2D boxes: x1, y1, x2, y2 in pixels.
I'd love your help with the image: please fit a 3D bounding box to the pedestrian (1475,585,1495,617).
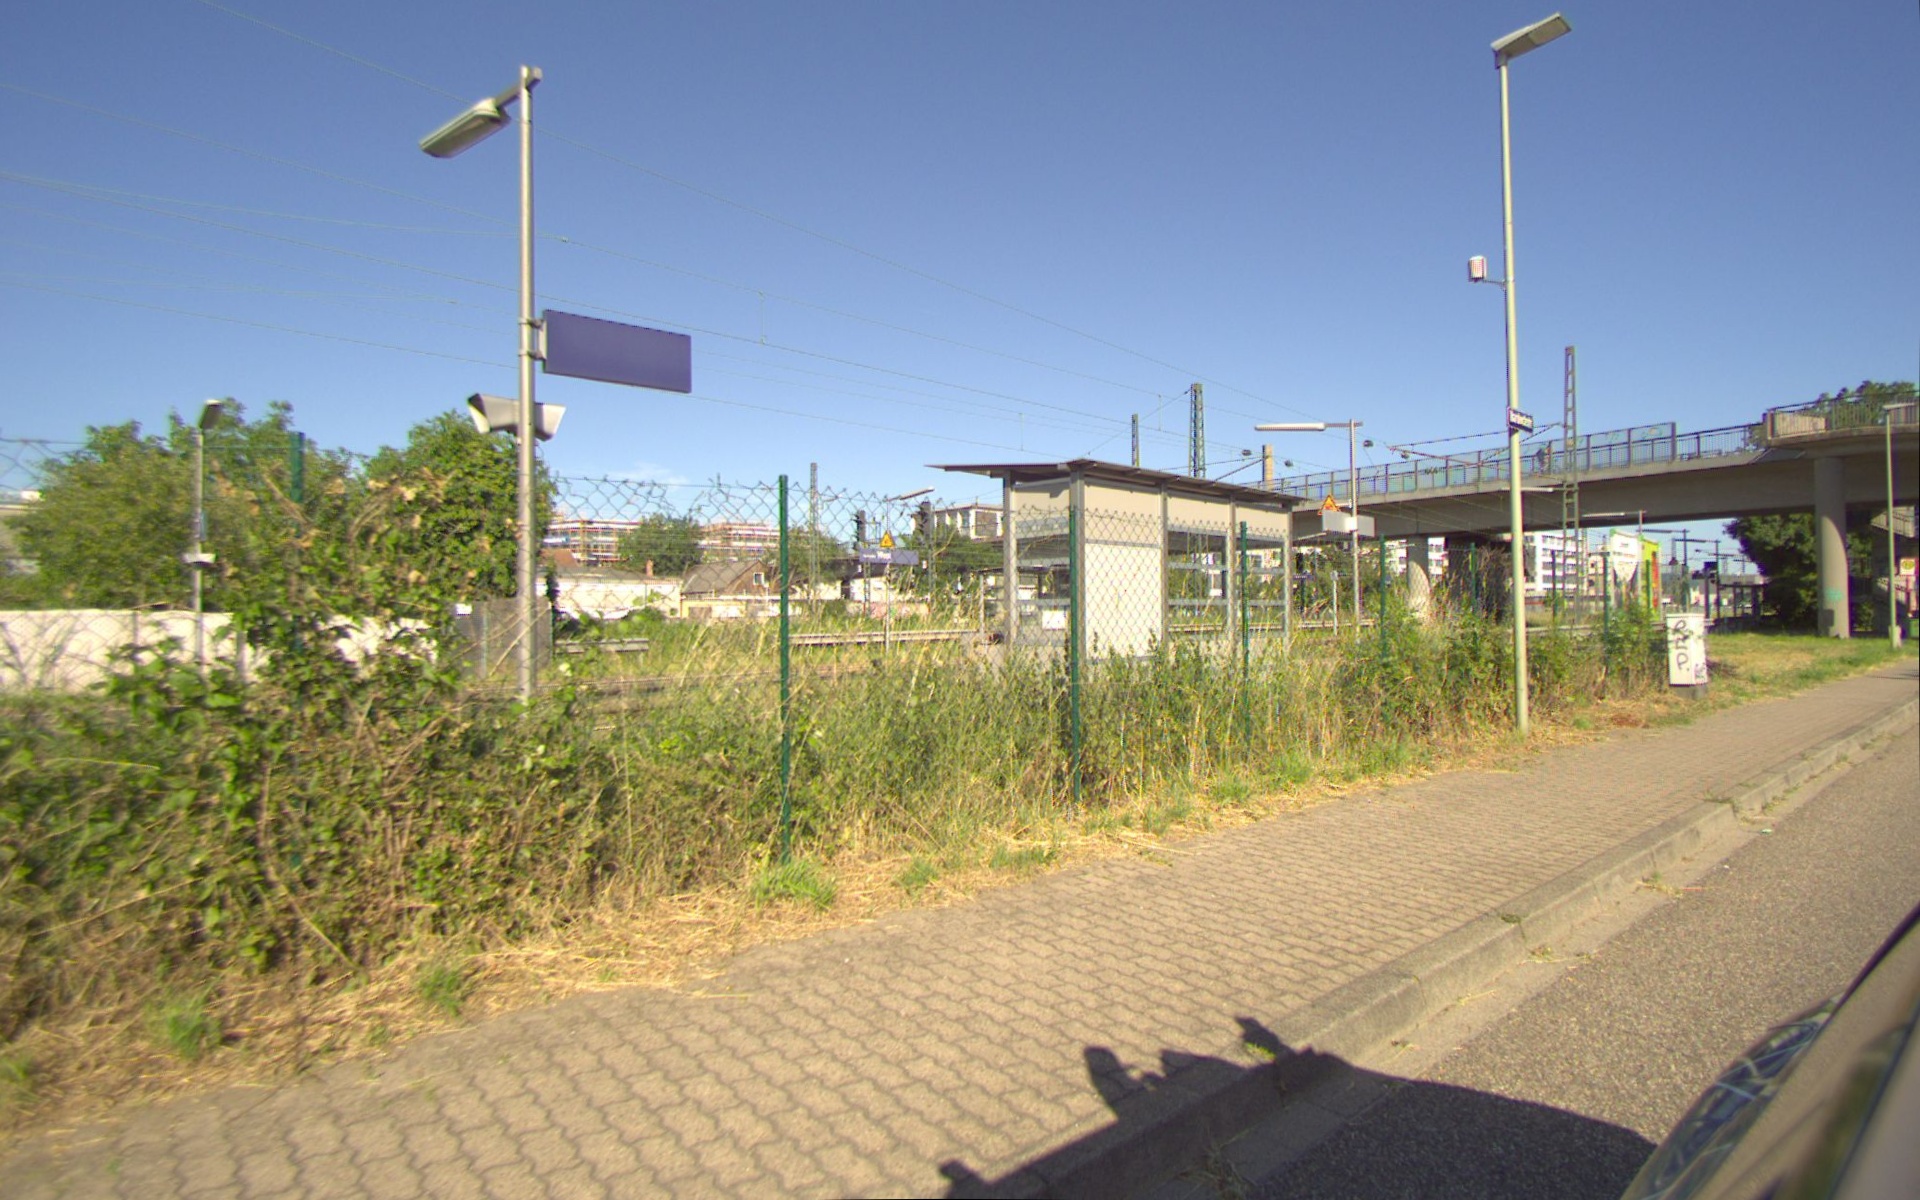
[{"bbox_3d":[33.867,0.056,65.276,0.822,2.039,0.893,0,-1,-43],"label":"pedestrian"}]
